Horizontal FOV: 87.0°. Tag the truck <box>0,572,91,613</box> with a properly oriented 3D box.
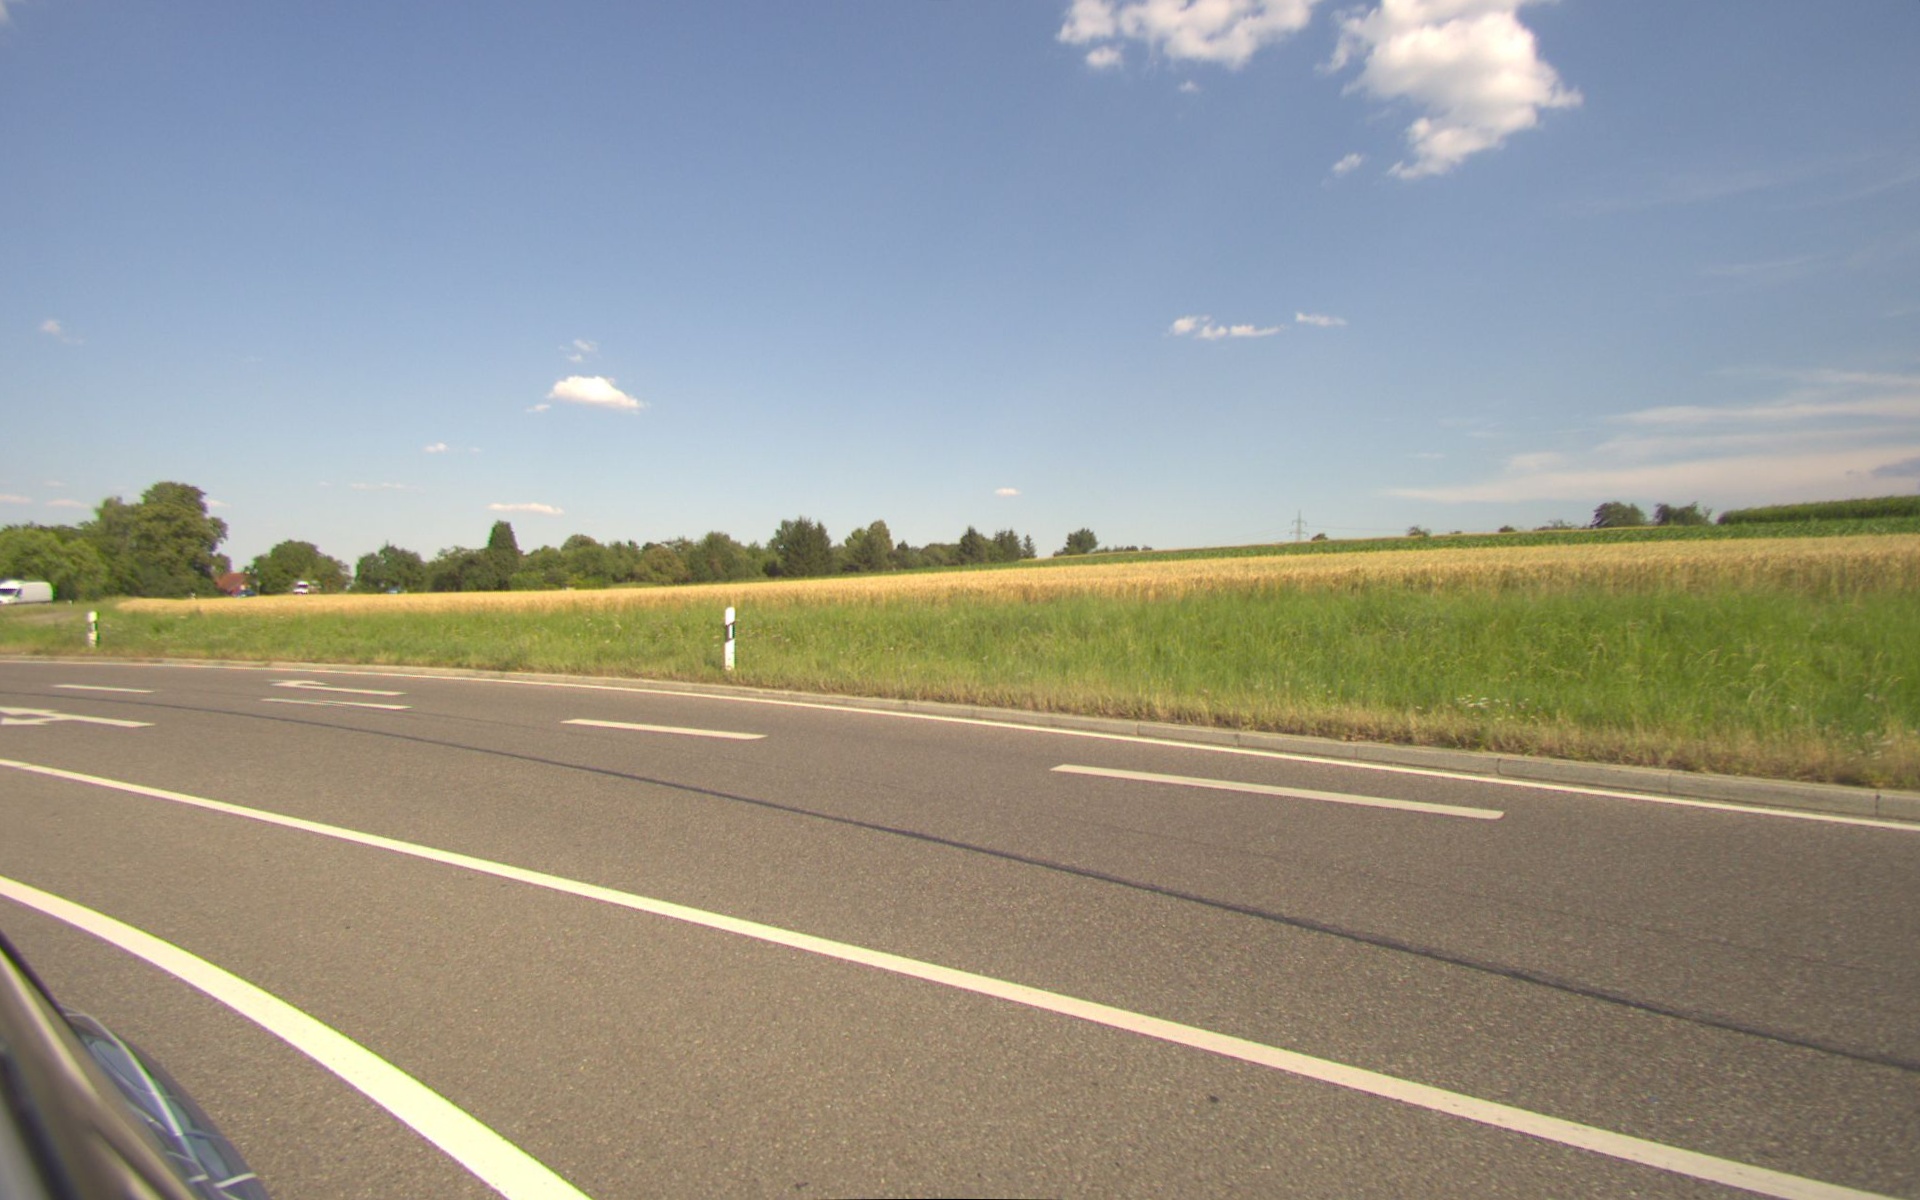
[{"bbox_3d":[-92.449,-0.738,101.150,2.489,3.802,12.930,-1,1,-12],"label":"truck"}]

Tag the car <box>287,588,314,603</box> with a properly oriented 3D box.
[{"bbox_3d":[-104.143,-0.787,159.829,1.968,2.028,4.009,-4,4,-8],"label":"car"}]
